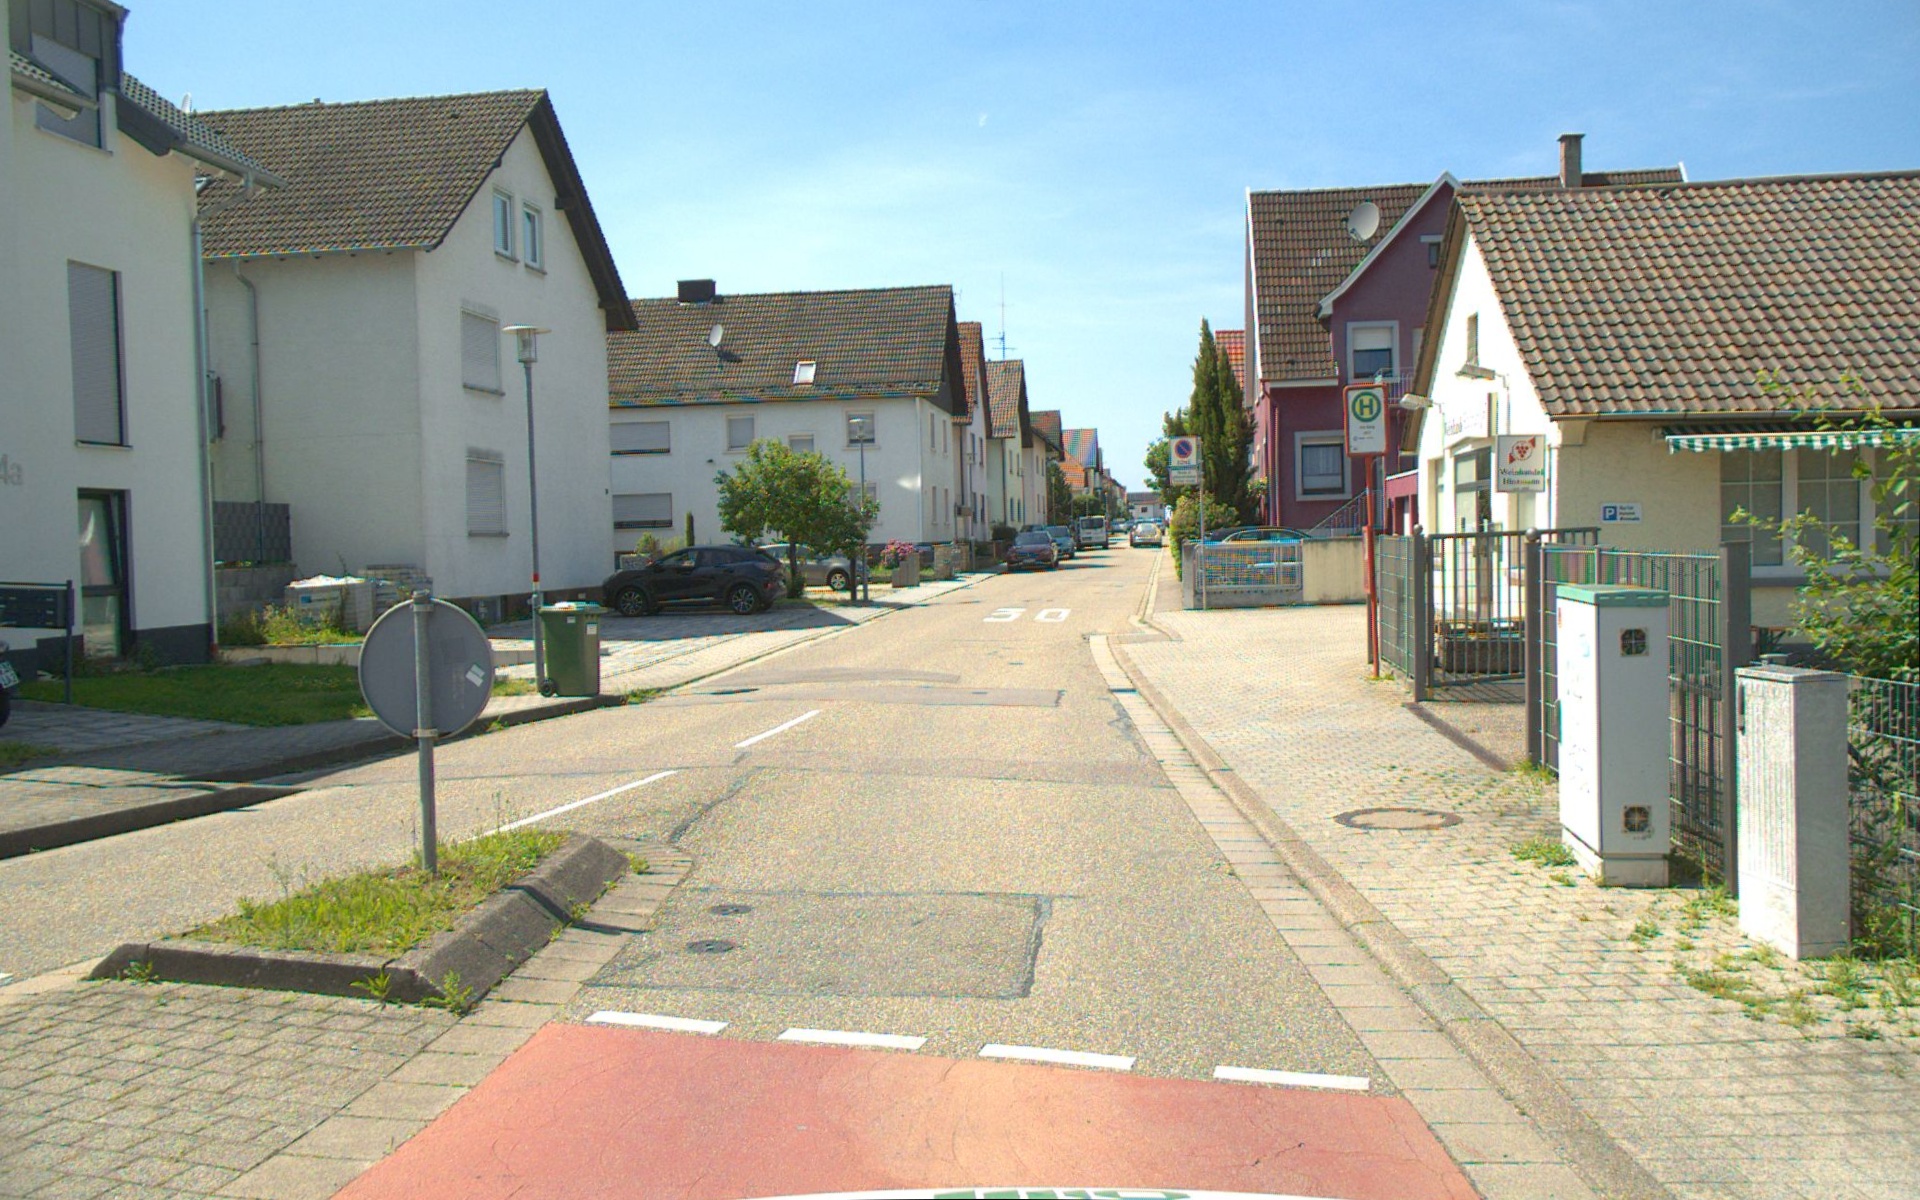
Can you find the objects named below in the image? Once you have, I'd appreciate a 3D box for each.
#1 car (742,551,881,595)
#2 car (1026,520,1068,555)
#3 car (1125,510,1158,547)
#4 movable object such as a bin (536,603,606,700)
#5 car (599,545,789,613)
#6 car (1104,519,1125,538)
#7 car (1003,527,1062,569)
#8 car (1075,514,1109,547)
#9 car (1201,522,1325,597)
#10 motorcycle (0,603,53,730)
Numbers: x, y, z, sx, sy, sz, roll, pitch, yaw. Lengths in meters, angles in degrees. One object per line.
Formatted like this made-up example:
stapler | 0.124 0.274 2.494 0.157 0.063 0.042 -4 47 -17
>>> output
car | -4.441 -0.832 49.966 3.903 1.211 1.842 -1 2 4
car | 4.203 -3.009 80.497 1.884 1.632 4.001 -1 2 1
car | 10.967 -4.294 99.895 1.910 2.108 4.003 -1 0 7
movable object such as a bin | -4.563 0.603 19.414 0.631 1.102 0.459 -1 2 15
car | -5.929 -0.480 37.120 3.903 1.407 1.661 -1 2 4
car | 16.405 -7.594 175.654 1.912 1.845 4.004 0 1 10
car | 2.934 -2.081 65.957 1.951 1.580 4.004 -1 2 8
car | 7.898 -4.141 98.649 1.812 1.818 4.003 -1 0 7
car | 6.886 -0.911 37.788 2.686 1.625 1.172 -1 0 7
motorcycle | -8.946 0.565 13.995 2.310 1.031 0.672 -1 0 10
